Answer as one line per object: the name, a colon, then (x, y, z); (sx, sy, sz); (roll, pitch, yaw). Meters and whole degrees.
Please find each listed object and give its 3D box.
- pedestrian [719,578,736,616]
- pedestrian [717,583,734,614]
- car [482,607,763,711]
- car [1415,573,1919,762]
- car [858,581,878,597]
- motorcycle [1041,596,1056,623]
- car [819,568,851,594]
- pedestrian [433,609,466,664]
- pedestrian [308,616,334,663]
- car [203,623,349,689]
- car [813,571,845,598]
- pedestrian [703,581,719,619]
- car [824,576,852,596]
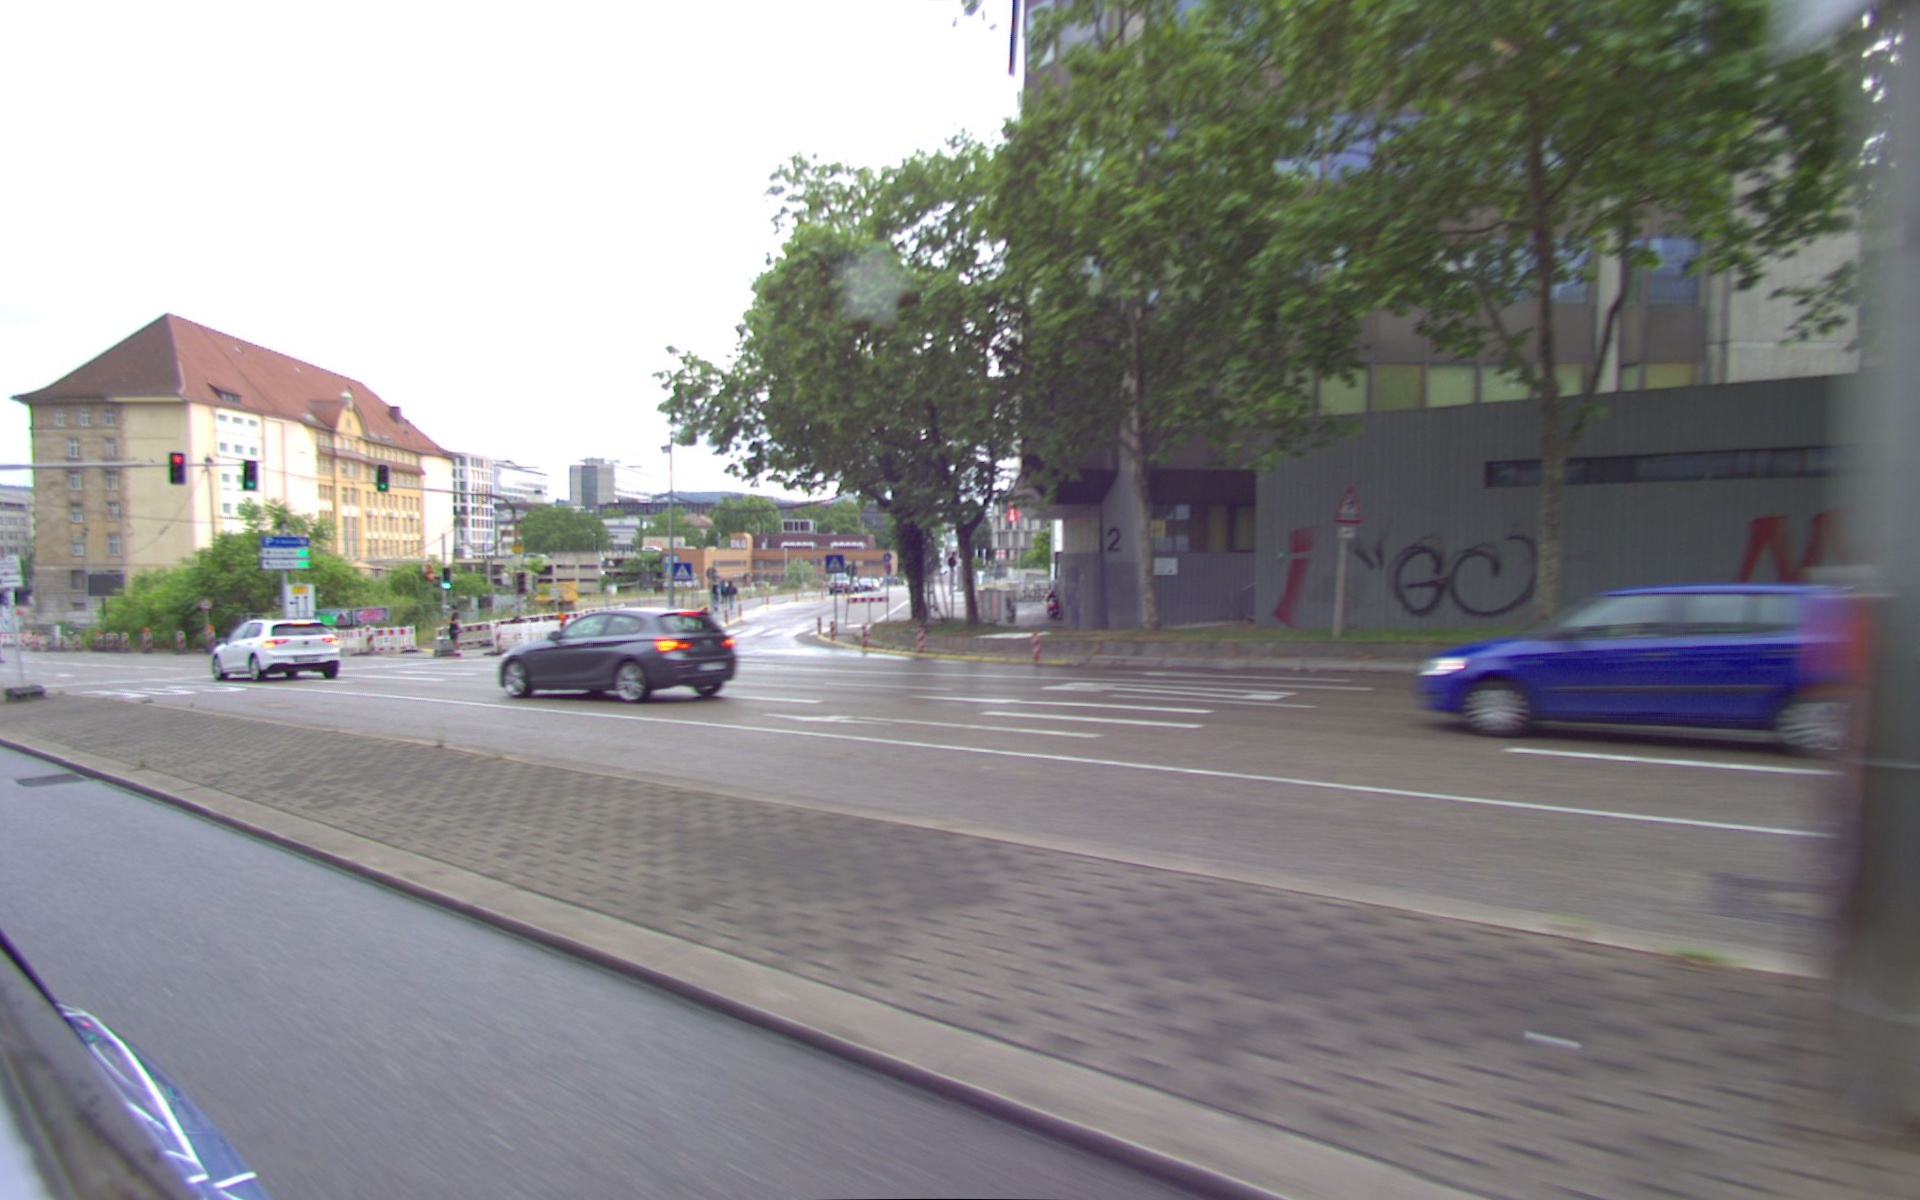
pedestrian: (-13.412, -0.177, 58.464); (0.737, 2.156, 0.742); (-2, 1, 2)
pedestrian: (-14.528, -0.113, 62.744); (0.758, 1.866, 0.784); (-3, 0, 2)
car: (-5.416, 0.902, 16.126); (4.320, 1.459, 1.795); (-2, -1, 29)
car: (6.722, 0.556, 9.640); (4.063, 1.484, 1.592); (-2, 0, 40)
car: (-10.580, -1.323, 116.833); (1.864, 1.718, 4.282); (-1, 2, 1)
motorcycle: (3.732, 0.385, 42.796); (0.558, 1.045, 2.181); (-2, 0, 3)
car: (-10.052, -1.559, 81.552); (1.973, 2.028, 3.999); (0, 2, 1)
pedestrian: (-18.342, 1.297, 36.379); (0.744, 1.894, 0.736); (0, 2, 29)
pedestrian: (-27.360, 1.673, 43.329); (0.742, 1.937, 0.753); (1, 2, 41)
car: (-16.914, 1.354, 24.946); (4.354, 1.472, 1.744); (-2, -1, 38)
car: (-9.749, -1.186, 75.787); (1.789, 1.980, 3.999); (0, 2, 1)
pedestrian: (-14.425, 0.016, 58.628); (0.737, 2.187, 0.701); (0, 1, 2)
car: (-10.903, -1.235, 90.671); (1.973, 1.718, 3.999); (-1, 2, 1)
